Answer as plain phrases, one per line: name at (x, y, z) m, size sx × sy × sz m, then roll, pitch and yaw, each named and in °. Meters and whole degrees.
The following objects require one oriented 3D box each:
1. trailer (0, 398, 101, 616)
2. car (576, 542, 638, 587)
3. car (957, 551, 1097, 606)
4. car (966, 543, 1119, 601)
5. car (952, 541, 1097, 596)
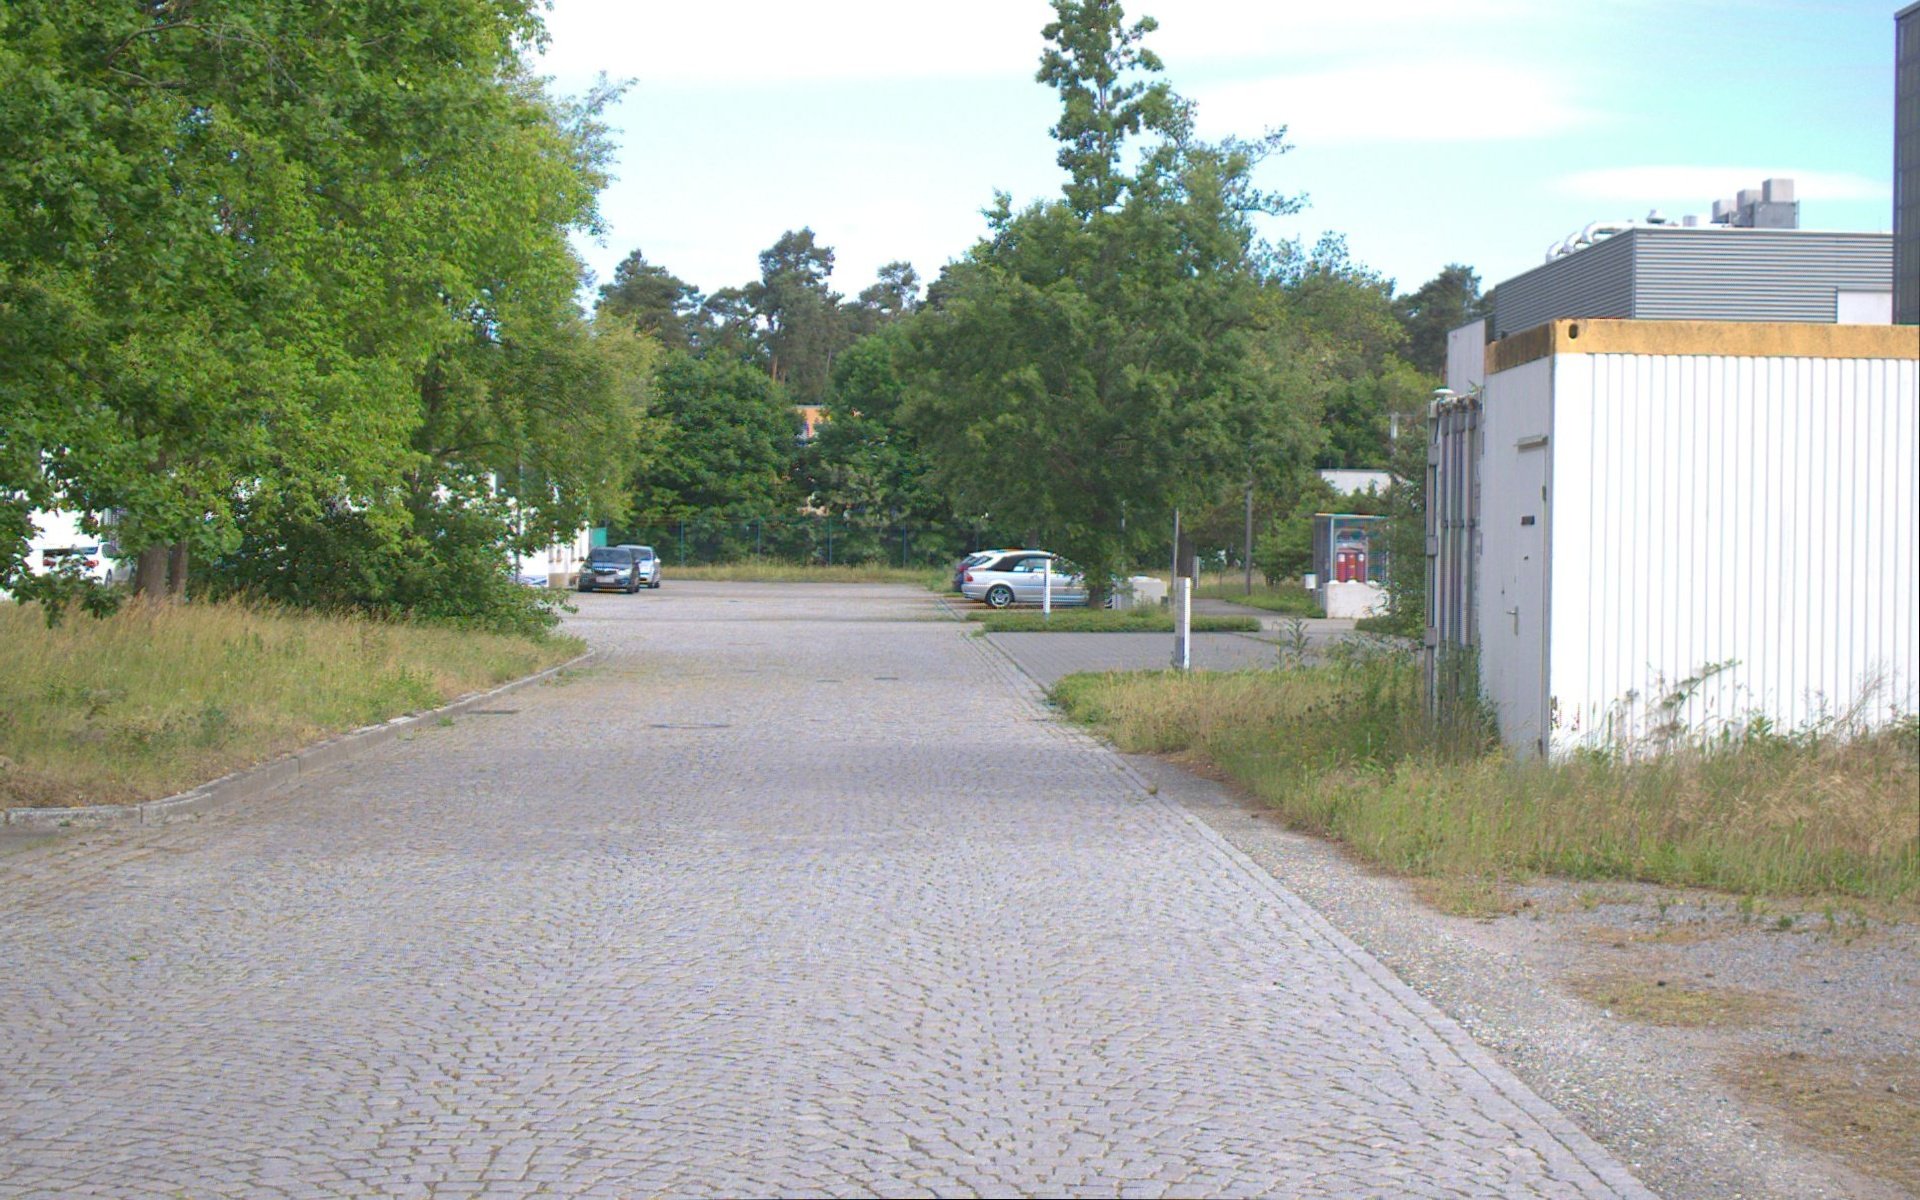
trailer at (-17.137, -1.576, 57.914) m, size 2.625 × 3.585 × 10.177 m, roll 1°, pitch 1°, yaw 1°
car at (-11.268, -1.140, 109.872) m, size 1.647 × 1.364 × 3.998 m, roll 1°, pitch 1°, yaw -1°
car at (1.713, -0.555, 88.550) m, size 3.522 × 1.357 × 1.622 m, roll -1°, pitch 1°, yaw -1°
car at (2.181, -0.748, 91.251) m, size 3.984 × 1.443 × 1.653 m, roll -1°, pitch 1°, yaw -1°
car at (1.803, -0.893, 96.376) m, size 3.984 × 1.470 × 1.653 m, roll -1°, pitch 1°, yaw -1°
